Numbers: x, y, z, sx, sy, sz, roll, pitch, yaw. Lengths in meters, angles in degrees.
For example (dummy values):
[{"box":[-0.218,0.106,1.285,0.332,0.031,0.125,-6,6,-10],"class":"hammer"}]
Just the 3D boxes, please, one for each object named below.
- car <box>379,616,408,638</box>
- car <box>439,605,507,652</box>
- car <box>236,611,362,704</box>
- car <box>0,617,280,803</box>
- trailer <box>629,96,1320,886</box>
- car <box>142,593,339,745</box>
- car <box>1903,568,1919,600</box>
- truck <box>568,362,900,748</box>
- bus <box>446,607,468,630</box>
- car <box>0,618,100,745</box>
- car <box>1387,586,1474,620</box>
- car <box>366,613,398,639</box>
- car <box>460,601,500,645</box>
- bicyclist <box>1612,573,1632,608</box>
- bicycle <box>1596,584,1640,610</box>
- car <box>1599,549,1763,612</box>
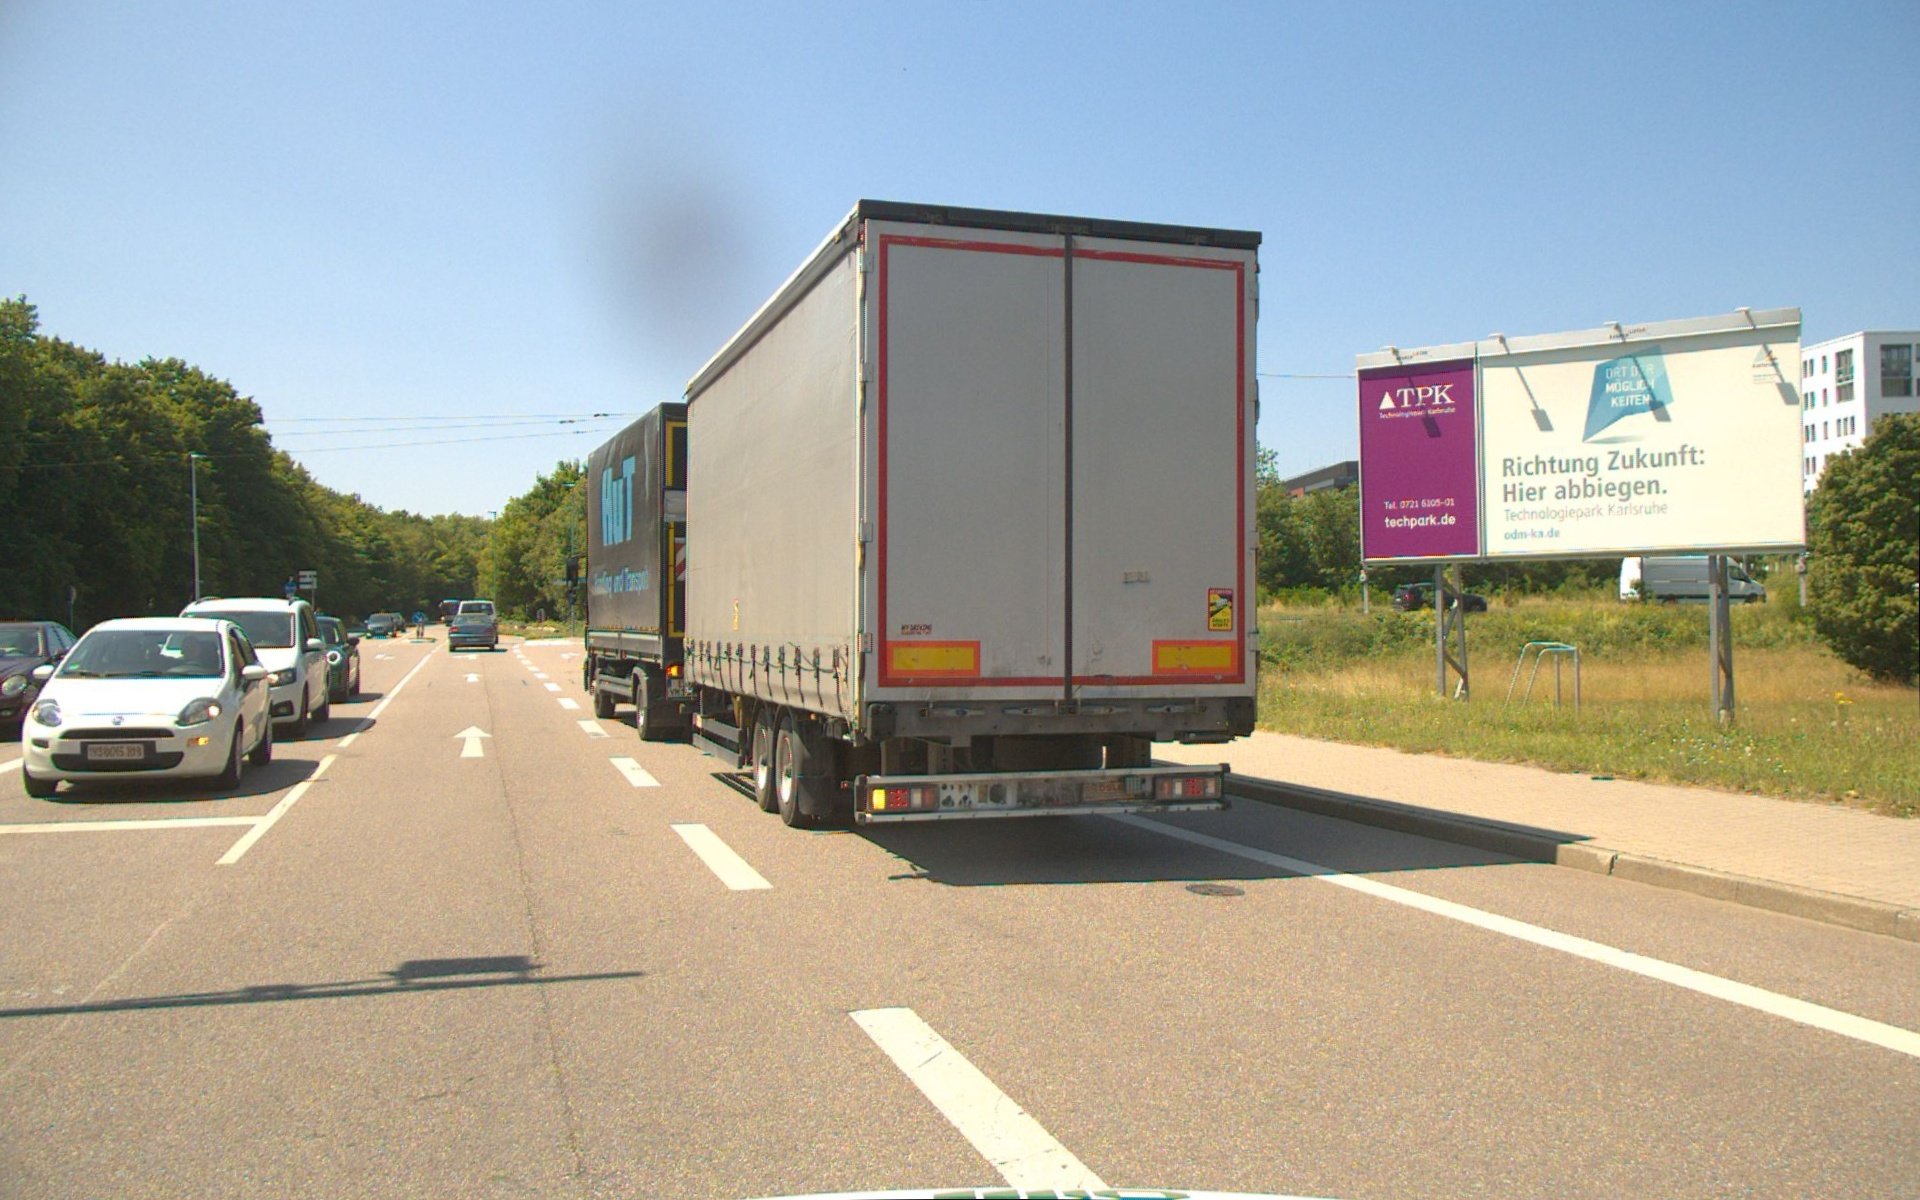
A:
[{"box":[-41.727,2.000,121.893,1.715,1.430,4.422,-2,1,-16],"class":"car"},{"box":[-18.372,1.052,62.511,1.989,1.661,3.990,-1,0,-10],"class":"car"},{"box":[-11.632,0.959,29.311,1.695,1.488,3.972,0,0,-16],"class":"car"},{"box":[-7.387,0.894,15.209,1.740,1.463,3.941,0,-1,-17],"class":"car"},{"box":[-0.766,-0.537,13.800,3.028,4.141,9.762,0,-1,-17],"class":"trailer"},{"box":[-9.333,0.808,21.808,1.783,1.753,4.809,0,0,-16],"class":"car"},{"box":[48.196,-0.764,80.647,3.546,1.560,1.704,0,0,-6],"class":"car"},{"box":[-3.333,-0.465,21.973,3.030,4.141,7.918,0,0,-18],"class":"truck"},{"box":[-73.376,2.647,241.506,2.706,3.097,11.883,-4,1,-16],"class":"bus"},{"box":[-12.605,1.009,21.541,1.732,1.482,4.264,-1,0,-17],"class":"car"},{"box":[21.853,0.140,76.867,3.551,1.560,1.701,1,0,-11],"class":"car"},{"box":[-35.288,1.557,100.970,1.596,1.481,3.485,-2,0,-16],"class":"car"},{"box":[-22.532,1.066,77.703,1.628,1.940,3.984,-1,0,-15],"class":"car"},{"box":[32.255,-0.452,80.557,0.677,1.652,0.609,-2,2,-6],"class":"bicyclist"},{"box":[32.049,-0.136,80.541,1.921,1.200,0.613,-2,2,-7],"class":"bicycle"},{"box":[34.360,-0.914,78.939,6.701,2.851,2.664,-1,-1,-7],"class":"car"}]
